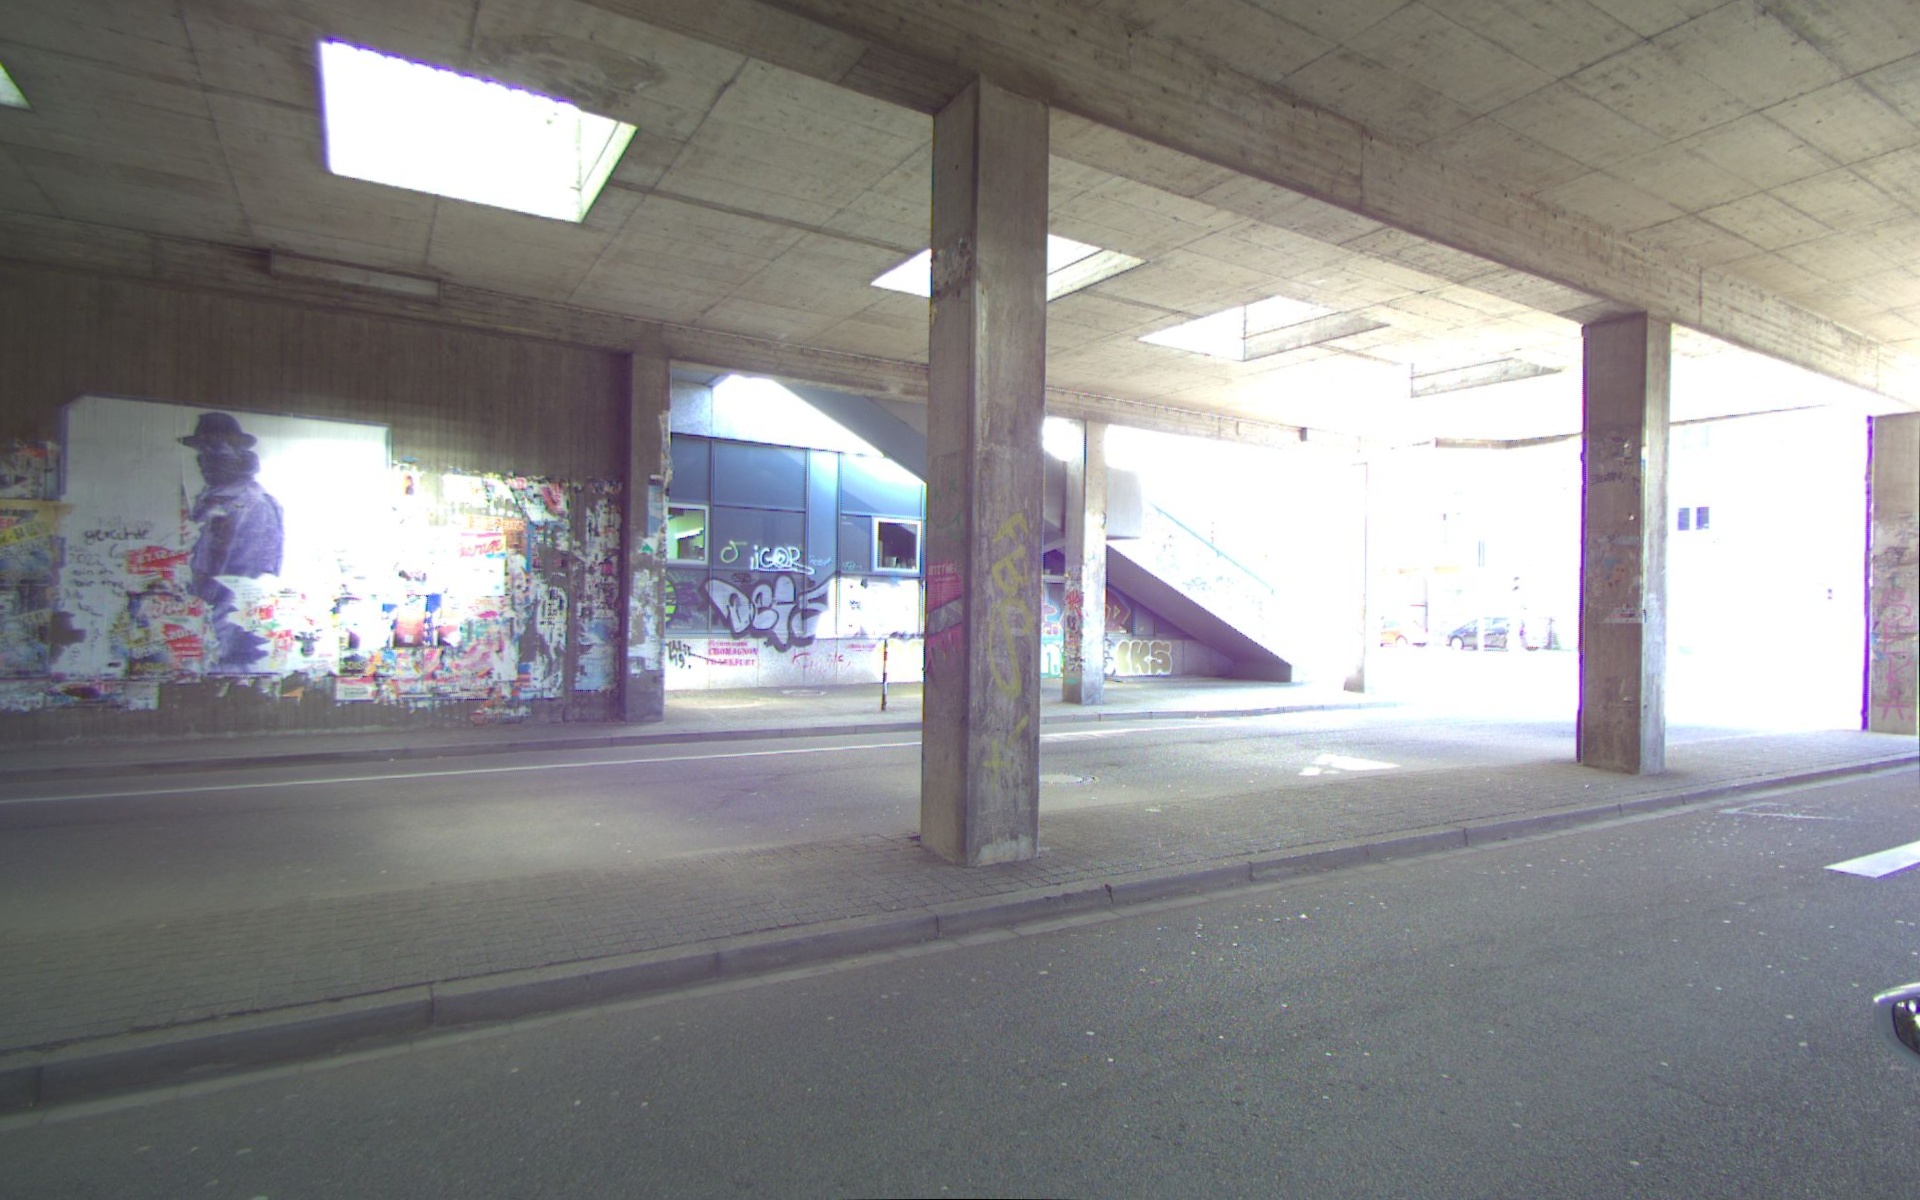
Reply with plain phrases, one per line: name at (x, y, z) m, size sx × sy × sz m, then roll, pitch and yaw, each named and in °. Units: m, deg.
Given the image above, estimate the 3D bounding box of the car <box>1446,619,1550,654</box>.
car at (25.457, 1.717, 47.650) m, size 1.718 × 1.495 × 4.089 m, roll 2°, pitch -1°, yaw -31°

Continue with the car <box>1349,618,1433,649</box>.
car at (22.545, 1.735, 52.606) m, size 1.730 × 1.495 × 3.741 m, roll 2°, pitch -1°, yaw -31°
